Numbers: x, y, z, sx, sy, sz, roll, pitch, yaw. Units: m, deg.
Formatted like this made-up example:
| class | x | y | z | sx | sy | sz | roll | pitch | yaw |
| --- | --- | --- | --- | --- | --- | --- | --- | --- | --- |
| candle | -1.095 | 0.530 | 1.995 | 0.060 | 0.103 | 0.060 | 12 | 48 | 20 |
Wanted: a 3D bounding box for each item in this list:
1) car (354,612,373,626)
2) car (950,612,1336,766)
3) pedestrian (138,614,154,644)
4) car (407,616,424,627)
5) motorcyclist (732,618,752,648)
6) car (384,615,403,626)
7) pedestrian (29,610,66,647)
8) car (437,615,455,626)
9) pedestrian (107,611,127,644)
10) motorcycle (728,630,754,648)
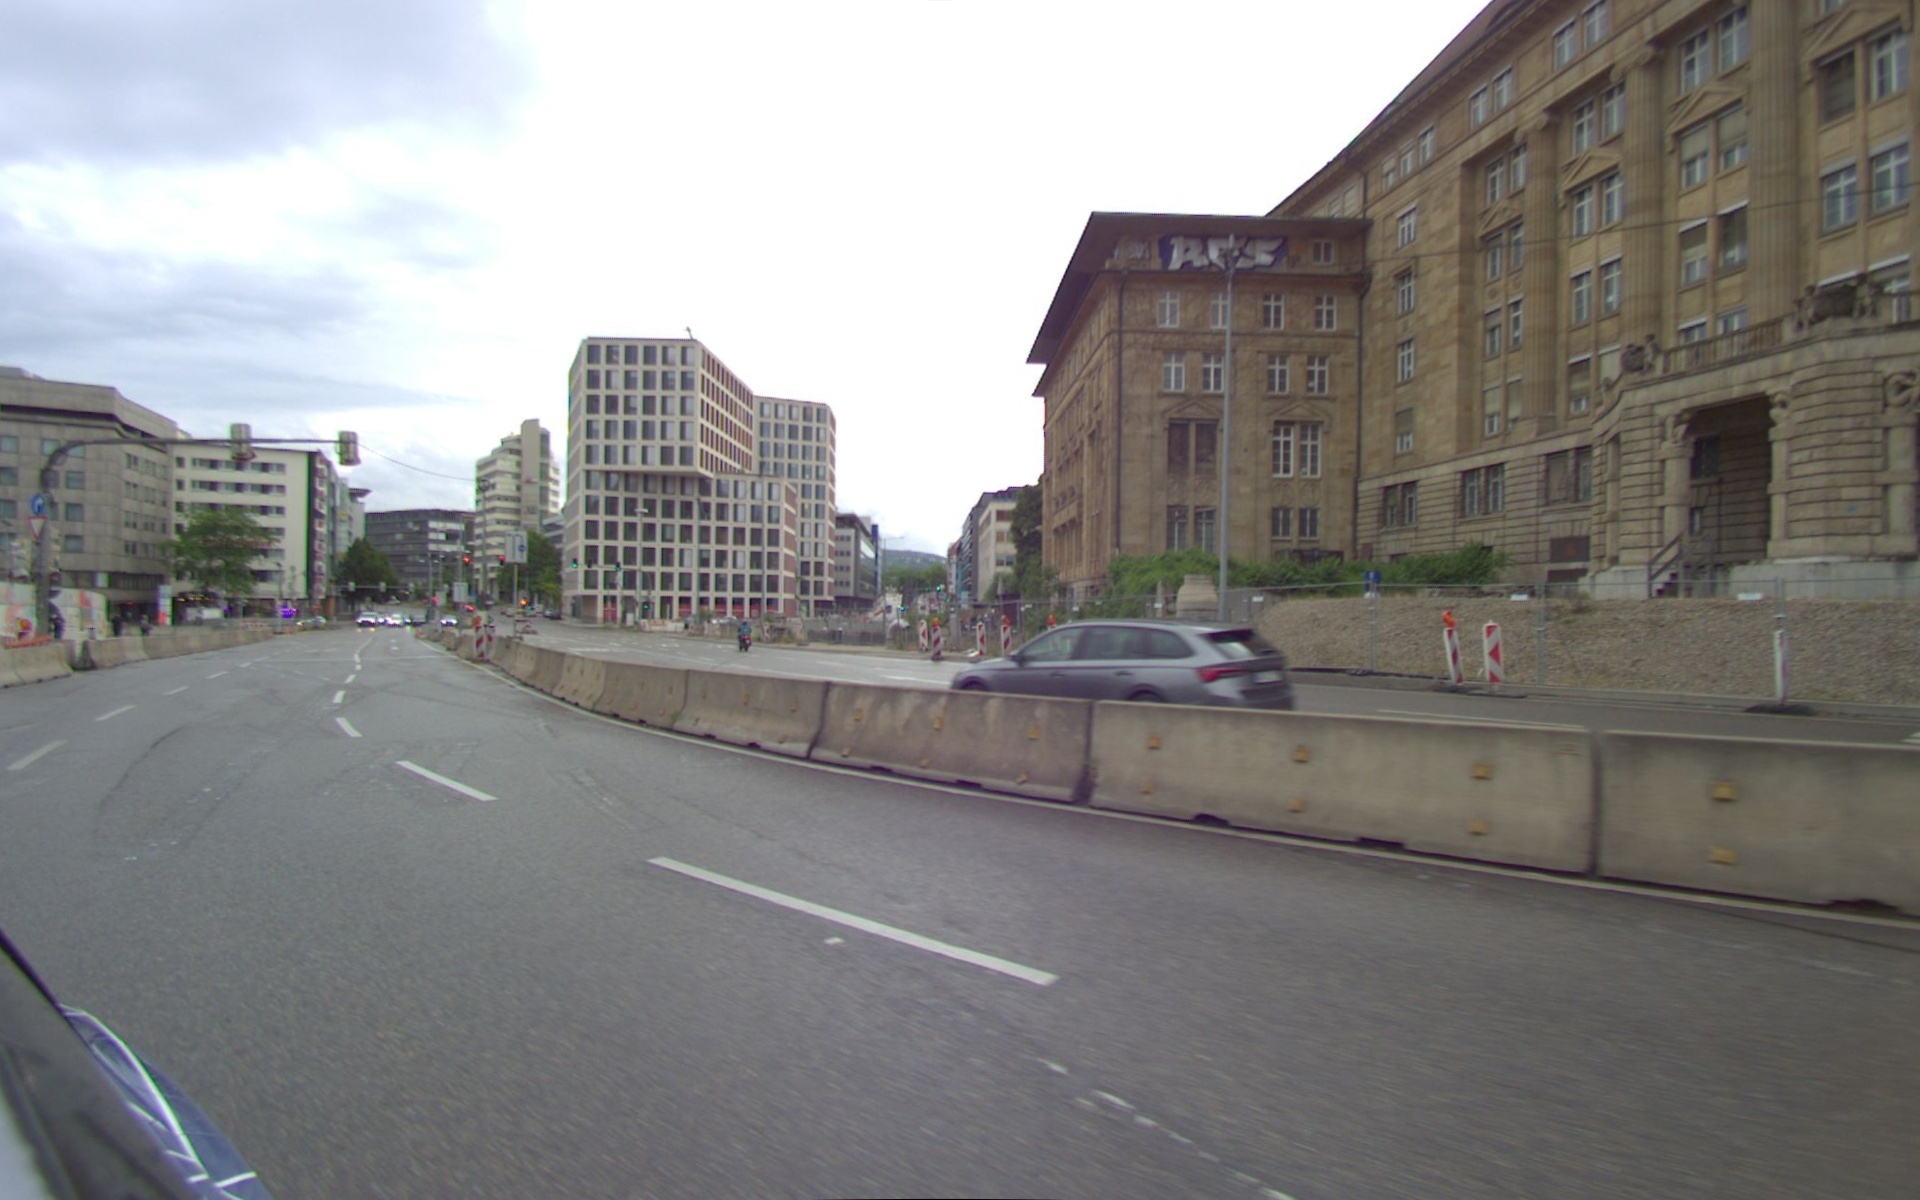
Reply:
| class | x | y | z | sx | sy | sz | roll | pitch | yaw |
| --- | --- | --- | --- | --- | --- | --- | --- | --- | --- |
| car | -78.604 | 2.498 | 133.411 | 1.966 | 1.838 | 4.011 | 1 | -1 | -32 |
| car | 2.033 | 0.917 | 12.232 | 4.389 | 1.533 | 1.746 | -1 | -1 | 45 |
| pedestrian | -48.688 | 1.741 | 60.528 | 0.644 | 1.774 | 0.549 | 3 | -3 | -43 |
| car | -72.530 | 2.879 | 134.836 | 1.681 | 1.464 | 3.806 | 1 | -1 | -32 |
| motorcyclist | -11.149 | 1.664 | 51.680 | 0.693 | 1.498 | 0.965 | 1 | -1 | -33 |
| car | -75.100 | 2.679 | 134.152 | 1.966 | 1.464 | 4.011 | 1 | -1 | -32 |
| pedestrian | -44.752 | 1.413 | 49.651 | 1.081 | 1.774 | 0.909 | 2 | -3 | -27 |
| car | -69.583 | 2.751 | 136.979 | 1.762 | 1.464 | 3.682 | 1 | -1 | -32 |
| pedestrian | -45.276 | 1.489 | 54.354 | 0.746 | 1.774 | 0.767 | 3 | -3 | -43 |
| motorcycle | -11.204 | 1.980 | 51.763 | 0.693 | 0.899 | 1.828 | 1 | -1 | -33 |
